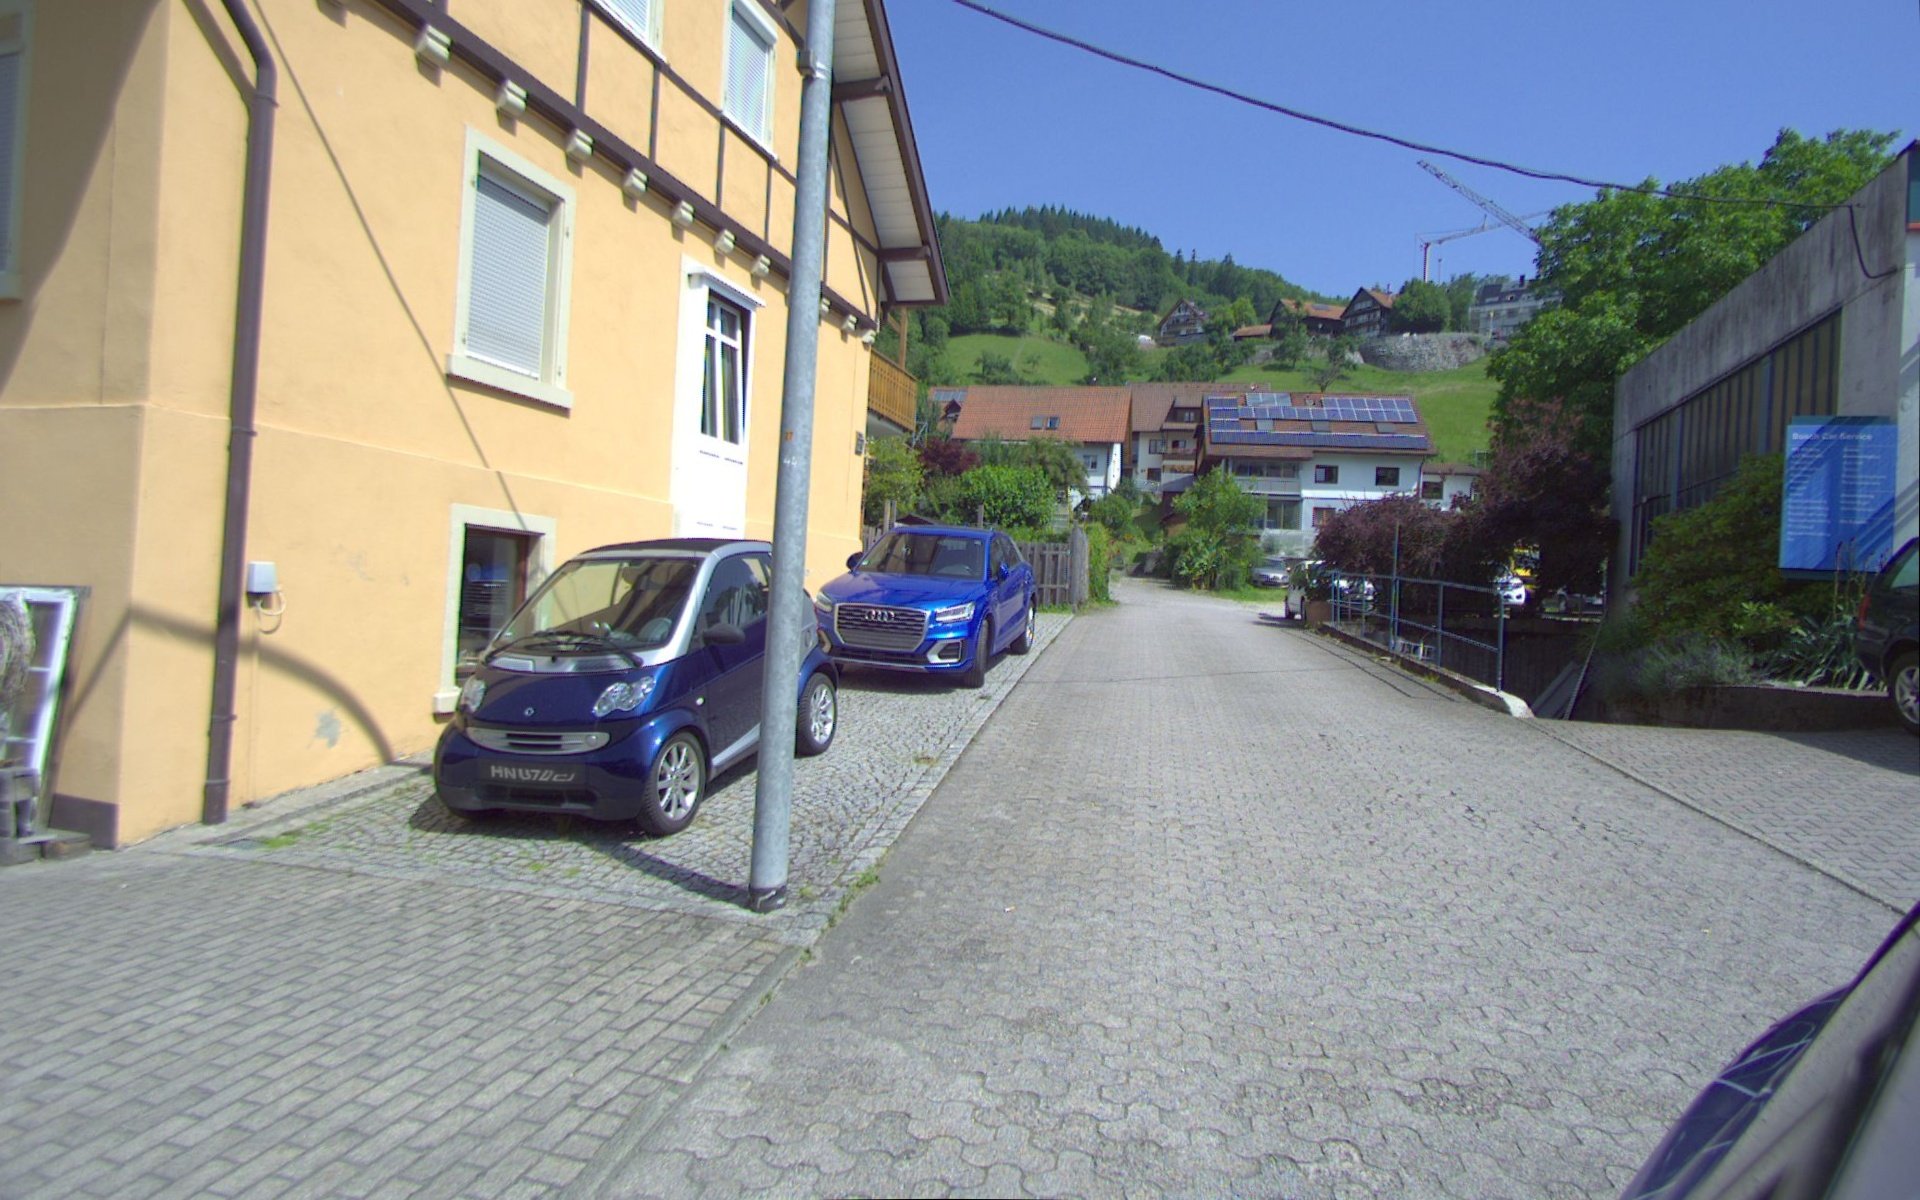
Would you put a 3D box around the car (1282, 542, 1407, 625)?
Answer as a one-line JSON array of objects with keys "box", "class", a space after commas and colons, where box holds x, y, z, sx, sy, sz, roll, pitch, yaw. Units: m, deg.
[{"box": [8.532, -0.458, 22.878, 1.970, 1.664, 4.861, 0, 3, 13], "class": "car"}]

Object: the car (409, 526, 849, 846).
[{"box": [-1.867, 0.335, 6.452, 1.405, 1.554, 2.651, 0, 4, 16], "class": "car"}]

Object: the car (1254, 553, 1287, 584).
[{"box": [14.447, -1.487, 47.200, 1.325, 1.387, 3.201, 0, 3, 14], "class": "car"}]

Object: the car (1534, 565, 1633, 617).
[{"box": [20.804, -0.347, 33.927, 1.655, 1.574, 3.897, 0, 3, 13], "class": "car"}]

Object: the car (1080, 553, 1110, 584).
[{"box": [5.529, -1.319, 41.302, 1.095, 1.076, 2.859, 4, 5, 9], "class": "car"}]

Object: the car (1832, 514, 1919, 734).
[{"box": [7.435, 0.230, 5.792, 1.772, 1.563, 4.319, -1, 3, 12], "class": "car"}]

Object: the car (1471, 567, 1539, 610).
[{"box": [18.798, -0.442, 35.018, 1.449, 1.273, 3.368, 3, 4, 19], "class": "car"}]

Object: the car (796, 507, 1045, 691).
[{"box": [-0.236, -0.127, 11.231, 1.710, 1.645, 3.919, 2, 3, 14], "class": "car"}]
